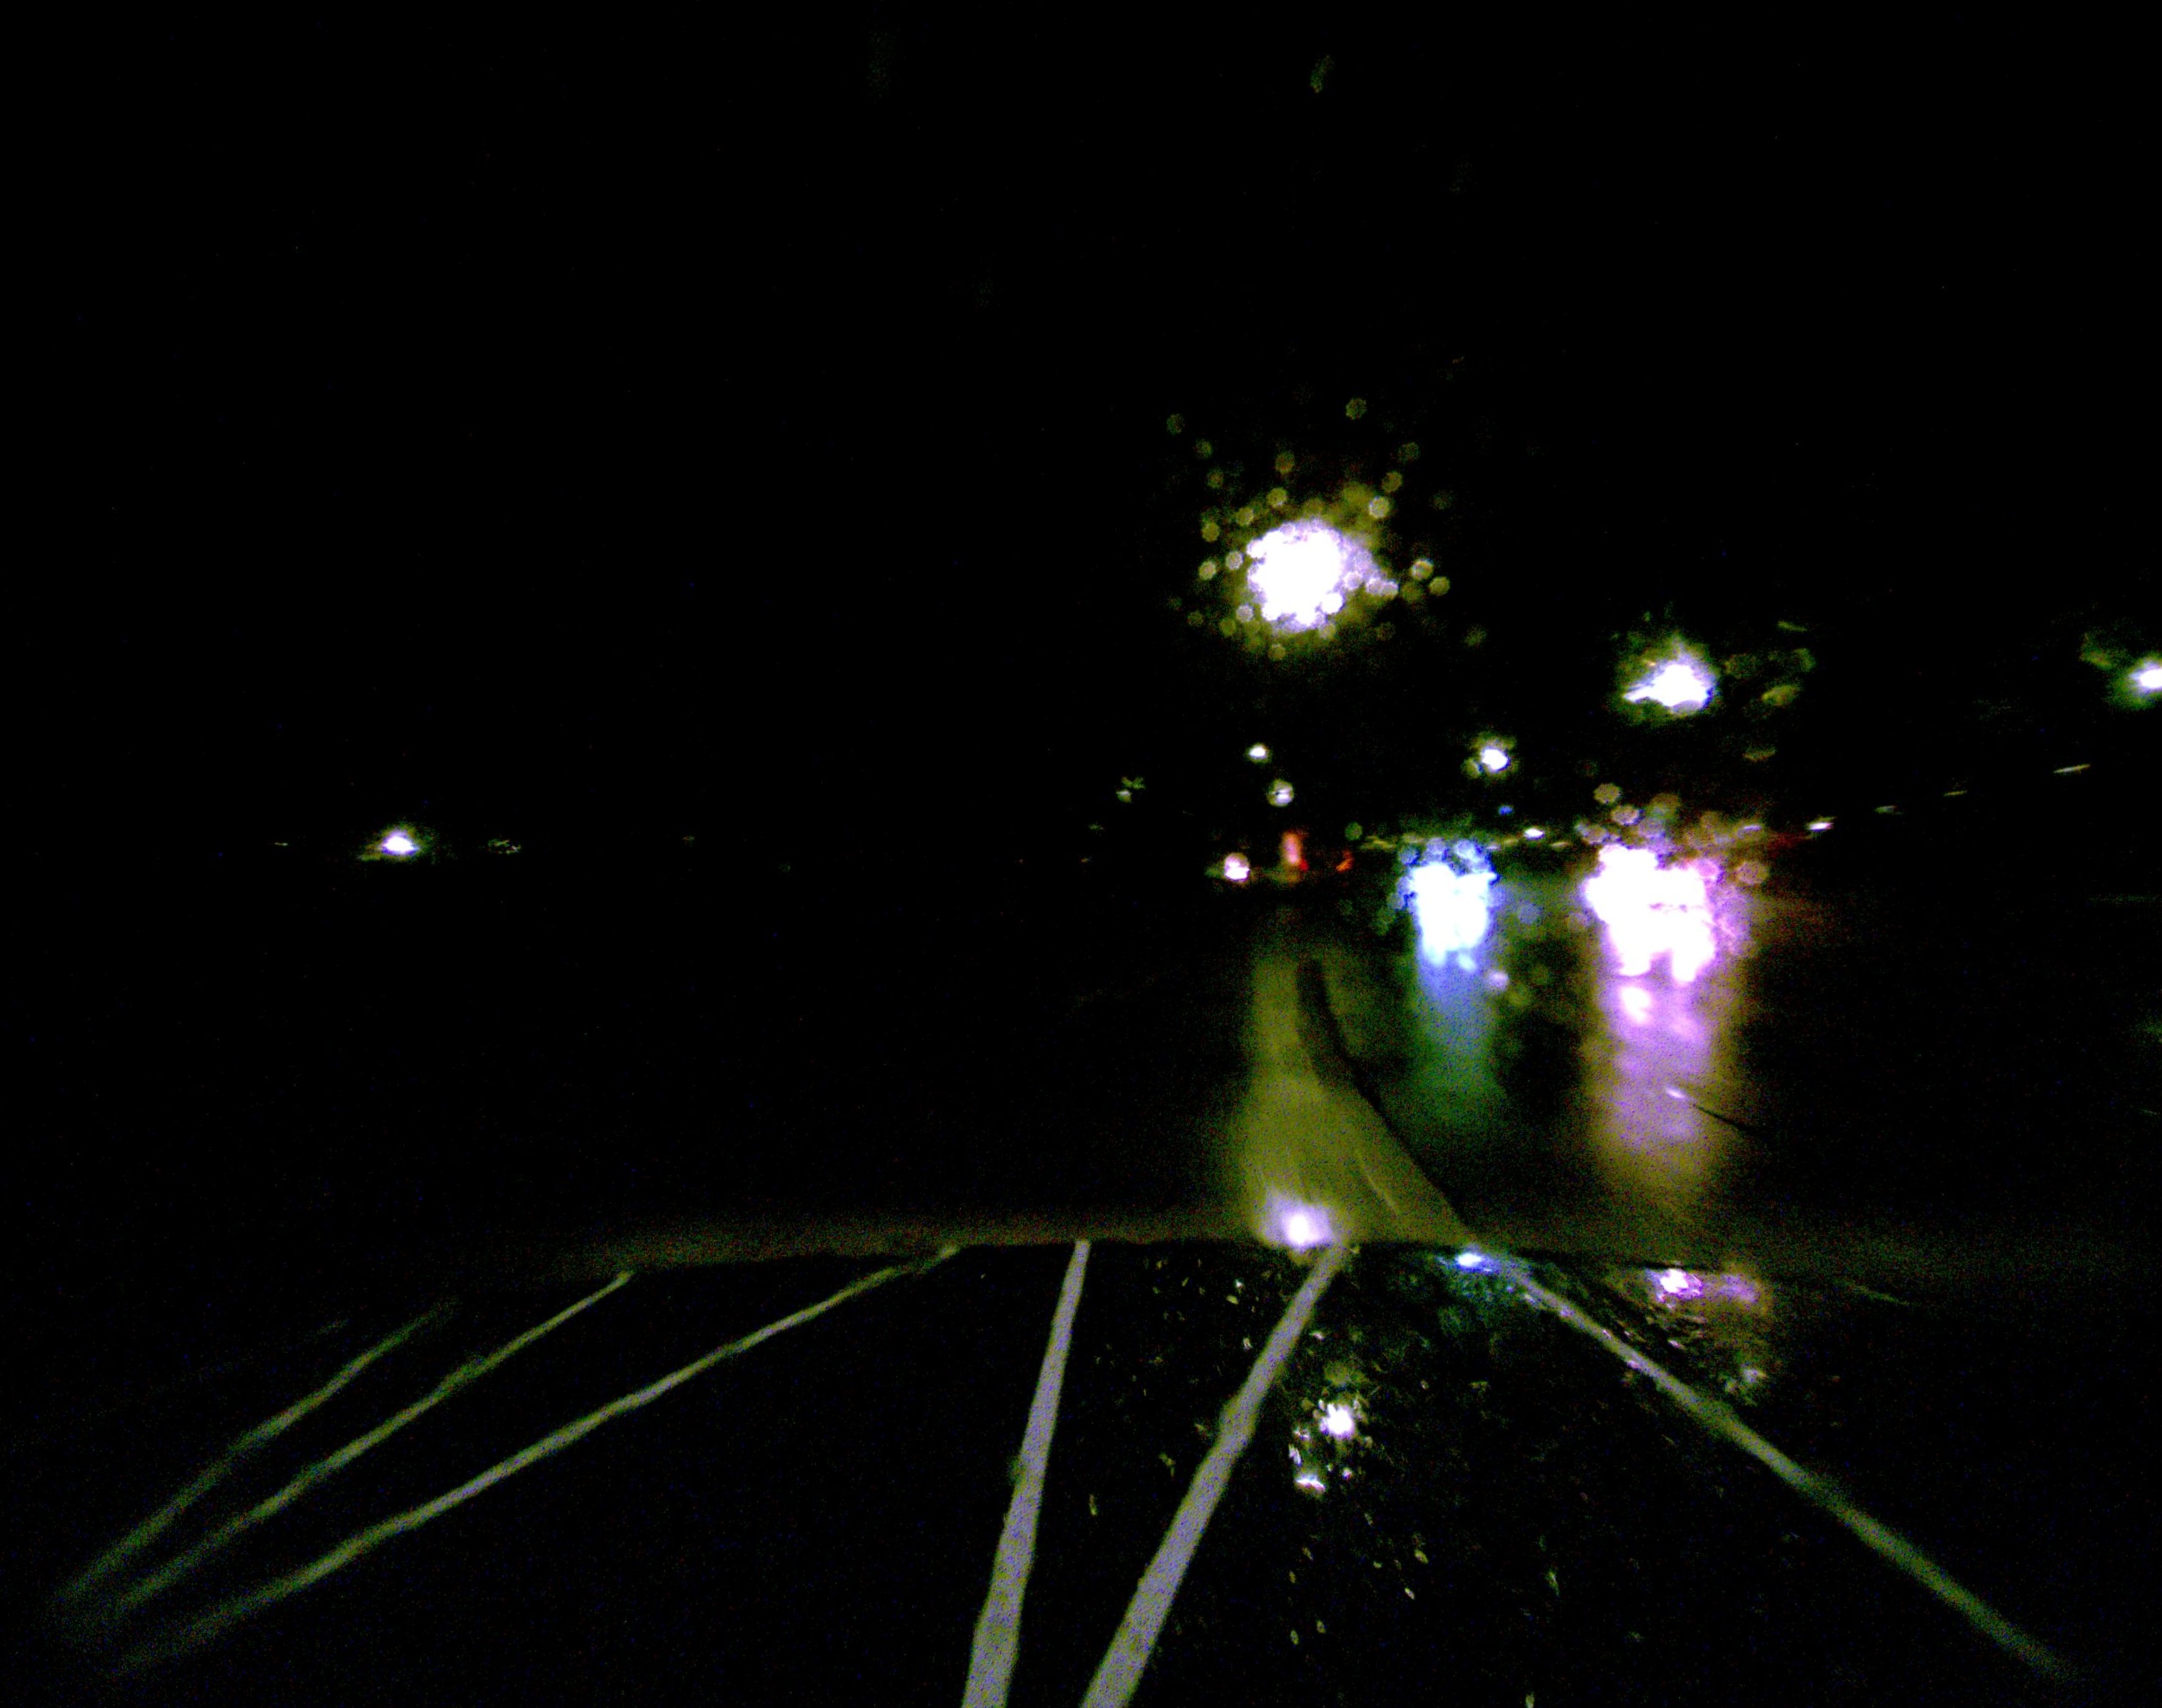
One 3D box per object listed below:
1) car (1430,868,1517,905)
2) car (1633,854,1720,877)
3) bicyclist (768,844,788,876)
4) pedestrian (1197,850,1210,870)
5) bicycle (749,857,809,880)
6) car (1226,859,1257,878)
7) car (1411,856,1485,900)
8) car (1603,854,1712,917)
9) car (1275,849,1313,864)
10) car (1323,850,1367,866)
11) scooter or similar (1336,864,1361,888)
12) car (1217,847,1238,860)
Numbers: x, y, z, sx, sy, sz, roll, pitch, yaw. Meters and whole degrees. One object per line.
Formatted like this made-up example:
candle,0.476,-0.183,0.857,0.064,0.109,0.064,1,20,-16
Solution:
car,20.464,1.633,39.823,1.835,1.696,4.190,-1,0,-10
car,37.508,0.712,47.937,1.833,1.364,3.938,-1,0,-30
bicyclist,-13.529,0.269,33.918,0.605,1.439,0.616,-1,1,1
pedestrian,9.075,0.430,56.282,0.728,1.477,0.835,-1,1,-11
bicycle,-13.491,0.658,33.927,2.419,0.971,0.621,-1,1,2
car,13.869,1.221,65.902,1.668,1.494,3.752,-1,0,-3
car,15.641,0.966,32.629,1.948,1.709,4.446,-1,0,14
car,16.264,0.818,21.664,1.830,1.518,4.883,-1,0,29
car,24.300,0.275,86.750,2.063,1.722,5.126,-1,0,-11
car,29.741,0.432,85.877,2.072,1.706,5.032,-1,0,-18
scooter or similar,12.881,1.055,36.618,1.102,1.091,0.318,1,2,17
car,21.487,-0.088,111.615,2.069,1.706,5.040,-1,0,-1
